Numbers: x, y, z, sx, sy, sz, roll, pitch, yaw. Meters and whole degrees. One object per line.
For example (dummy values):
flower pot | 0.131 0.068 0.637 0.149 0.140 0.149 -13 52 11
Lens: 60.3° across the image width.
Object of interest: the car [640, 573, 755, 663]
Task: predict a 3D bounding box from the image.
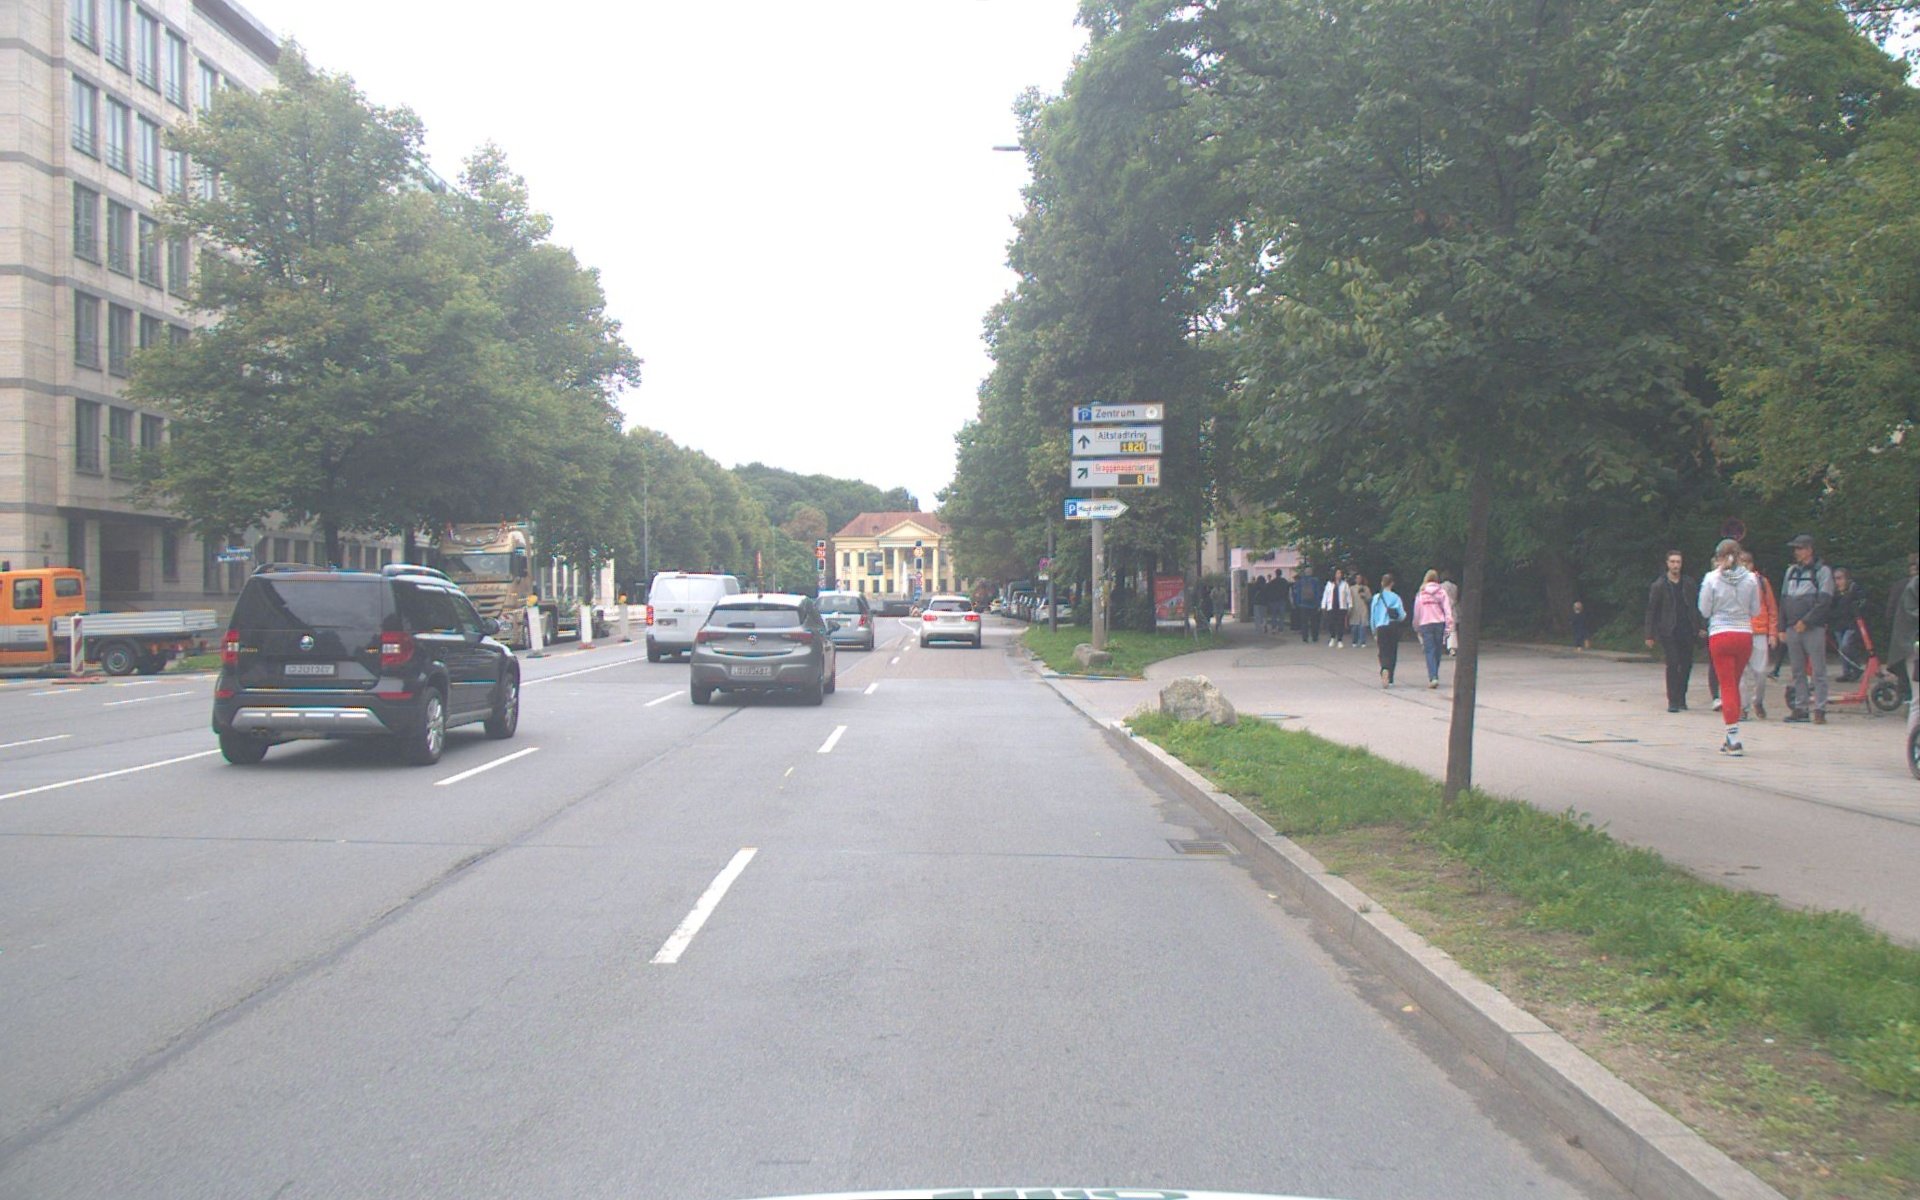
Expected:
car | -5.812 0.398 37.161 1.860 1.880 4.954 -1 -1 -1

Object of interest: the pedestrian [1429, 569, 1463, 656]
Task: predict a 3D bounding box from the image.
pedestrian | 9.612 0.250 32.725 0.618 1.696 0.573 1 -1 15

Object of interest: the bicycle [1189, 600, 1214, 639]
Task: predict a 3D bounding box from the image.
bicycle | 6.560 0.523 45.005 0.376 1.039 2.079 1 0 0

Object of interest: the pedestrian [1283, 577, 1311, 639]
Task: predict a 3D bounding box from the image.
pedestrian | 9.898 0.233 48.518 0.738 1.767 0.850 1 -1 15

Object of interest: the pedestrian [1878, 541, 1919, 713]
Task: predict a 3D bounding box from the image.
pedestrian | 10.839 0.305 18.658 0.685 1.905 0.604 1 -1 -36

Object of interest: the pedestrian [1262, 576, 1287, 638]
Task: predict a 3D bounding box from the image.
pedestrian | 9.199 0.193 48.425 0.595 1.794 0.797 1 -1 3

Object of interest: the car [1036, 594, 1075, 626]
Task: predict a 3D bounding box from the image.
car | 4.961 0.537 86.591 1.790 1.577 4.751 -1 0 0

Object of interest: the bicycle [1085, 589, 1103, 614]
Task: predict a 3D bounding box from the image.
bicycle | 6.873 0.100 84.757 0.616 1.252 2.617 1 0 -2

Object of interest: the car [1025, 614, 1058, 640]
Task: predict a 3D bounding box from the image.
car | 4.833 1.611 98.594 1.689 1.490 4.775 -1 0 0

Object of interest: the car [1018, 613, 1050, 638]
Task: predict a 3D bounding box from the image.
car | 4.637 1.597 103.937 1.785 1.490 4.027 -1 0 0

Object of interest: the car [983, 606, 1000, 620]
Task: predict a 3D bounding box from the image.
car | 3.275 1.368 171.535 1.689 1.347 4.027 -1 0 0

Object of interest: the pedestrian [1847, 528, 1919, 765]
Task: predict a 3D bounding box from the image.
pedestrian | 7.118 0.343 12.303 0.711 1.720 0.648 1 -1 4

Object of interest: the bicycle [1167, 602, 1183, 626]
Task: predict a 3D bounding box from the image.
bicycle | 13.509 0.873 103.964 0.685 1.440 2.298 -1 0 0

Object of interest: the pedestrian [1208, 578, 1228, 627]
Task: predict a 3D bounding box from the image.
pedestrian | 9.635 0.104 61.771 0.617 1.805 0.782 1 -1 3

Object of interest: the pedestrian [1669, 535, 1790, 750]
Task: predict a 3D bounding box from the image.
pedestrian | 6.341 0.342 13.657 0.711 1.720 0.648 1 -1 4

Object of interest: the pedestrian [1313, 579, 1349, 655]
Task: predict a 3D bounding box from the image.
pedestrian | 8.343 0.376 37.154 0.738 1.672 0.651 1 -1 15

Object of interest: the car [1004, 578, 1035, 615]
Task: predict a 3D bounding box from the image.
car | 4.479 -0.225 124.821 1.953 2.689 4.876 1 0 -2

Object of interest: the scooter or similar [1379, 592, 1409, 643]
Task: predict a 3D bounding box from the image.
scooter or similar | 10.558 0.413 40.243 0.409 1.220 1.219 1 0 0

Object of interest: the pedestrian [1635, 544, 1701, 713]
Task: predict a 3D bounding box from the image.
pedestrian | 8.148 0.323 19.042 0.596 1.905 0.693 1 -1 16

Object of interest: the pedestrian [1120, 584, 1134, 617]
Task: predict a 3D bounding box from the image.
pedestrian | 9.980 0.015 98.842 0.748 1.944 0.771 1 -1 0

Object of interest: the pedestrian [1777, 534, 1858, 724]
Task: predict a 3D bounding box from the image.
pedestrian | 8.790 0.292 16.977 0.596 1.905 0.693 1 -1 16

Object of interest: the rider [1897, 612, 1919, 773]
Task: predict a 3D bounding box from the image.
rider | 7.103 0.657 11.310 0.748 1.131 1.245 1 0 4

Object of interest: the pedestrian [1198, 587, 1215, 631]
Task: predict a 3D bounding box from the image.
pedestrian | 9.588 0.335 64.404 0.568 1.705 0.553 1 -1 3

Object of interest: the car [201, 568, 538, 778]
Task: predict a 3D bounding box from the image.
car | -5.270 0.608 15.367 1.687 1.665 4.203 -1 -1 -1

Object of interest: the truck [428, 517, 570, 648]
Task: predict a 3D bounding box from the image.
truck | -14.568 -0.494 52.881 2.859 3.841 7.658 1 0 -5

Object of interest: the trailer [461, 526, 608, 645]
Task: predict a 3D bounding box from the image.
trailer | -15.007 -0.447 59.388 2.891 3.806 11.761 1 0 -4

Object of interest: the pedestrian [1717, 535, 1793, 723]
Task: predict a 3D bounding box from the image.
pedestrian | 8.436 0.295 17.566 0.596 1.948 0.693 1 -1 16

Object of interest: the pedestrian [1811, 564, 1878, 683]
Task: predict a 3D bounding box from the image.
pedestrian | 12.711 0.336 23.773 0.684 1.680 0.604 1 -1 -33

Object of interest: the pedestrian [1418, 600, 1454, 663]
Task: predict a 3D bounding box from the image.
pedestrian | 8.939 0.581 31.063 0.618 1.157 0.573 1 -1 15

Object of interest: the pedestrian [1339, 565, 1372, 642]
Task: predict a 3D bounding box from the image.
pedestrian | 9.599 0.082 40.131 0.576 1.854 0.850 1 -1 0

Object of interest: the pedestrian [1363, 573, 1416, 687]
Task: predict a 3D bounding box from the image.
pedestrian | 6.421 0.441 24.709 0.738 1.672 0.850 1 -1 15

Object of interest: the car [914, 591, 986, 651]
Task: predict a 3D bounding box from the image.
car | -0.328 0.595 48.319 1.745 1.673 3.995 1 0 -6

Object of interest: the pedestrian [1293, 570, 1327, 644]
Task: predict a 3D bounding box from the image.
pedestrian | 8.526 0.175 40.290 0.738 1.767 0.850 1 -1 15

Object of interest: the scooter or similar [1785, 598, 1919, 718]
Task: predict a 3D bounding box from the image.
scooter or similar | 9.926 0.622 18.149 1.533 1.278 0.347 1 -1 30

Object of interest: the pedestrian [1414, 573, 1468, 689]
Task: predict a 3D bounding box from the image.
pedestrian | 7.126 0.451 24.526 0.738 1.672 0.850 1 -1 15

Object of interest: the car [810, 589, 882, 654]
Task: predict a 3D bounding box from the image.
car | -3.068 0.570 45.162 1.743 1.683 3.999 1 0 -1

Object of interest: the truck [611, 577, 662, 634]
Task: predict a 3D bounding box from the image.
truck | -20.493 0.360 105.084 2.788 3.416 8.746 1 0 -9

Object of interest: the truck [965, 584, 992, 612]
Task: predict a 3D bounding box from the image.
truck | 2.315 -0.234 209.051 3.257 3.426 8.661 1 0 0

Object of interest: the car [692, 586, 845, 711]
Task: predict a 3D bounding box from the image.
car | -2.608 0.637 23.322 1.675 1.579 4.000 1 0 0

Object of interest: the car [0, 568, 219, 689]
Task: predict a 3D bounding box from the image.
car | -19.805 0.623 36.871 5.569 2.581 2.154 -1 0 -5

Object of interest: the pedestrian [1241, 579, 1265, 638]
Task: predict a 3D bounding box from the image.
pedestrian | 8.569 0.252 48.435 0.595 1.710 0.754 1 -1 3

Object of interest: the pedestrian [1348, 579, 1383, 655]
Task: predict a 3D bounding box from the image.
pedestrian | 9.066 0.386 36.983 0.738 1.672 0.691 1 -1 15

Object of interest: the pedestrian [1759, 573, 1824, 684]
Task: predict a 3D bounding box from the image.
pedestrian | 12.283 0.414 24.431 0.685 1.605 0.604 1 -1 -36

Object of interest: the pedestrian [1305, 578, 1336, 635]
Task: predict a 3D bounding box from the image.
pedestrian | 10.662 0.197 48.880 0.669 1.666 0.661 1 -1 -12
